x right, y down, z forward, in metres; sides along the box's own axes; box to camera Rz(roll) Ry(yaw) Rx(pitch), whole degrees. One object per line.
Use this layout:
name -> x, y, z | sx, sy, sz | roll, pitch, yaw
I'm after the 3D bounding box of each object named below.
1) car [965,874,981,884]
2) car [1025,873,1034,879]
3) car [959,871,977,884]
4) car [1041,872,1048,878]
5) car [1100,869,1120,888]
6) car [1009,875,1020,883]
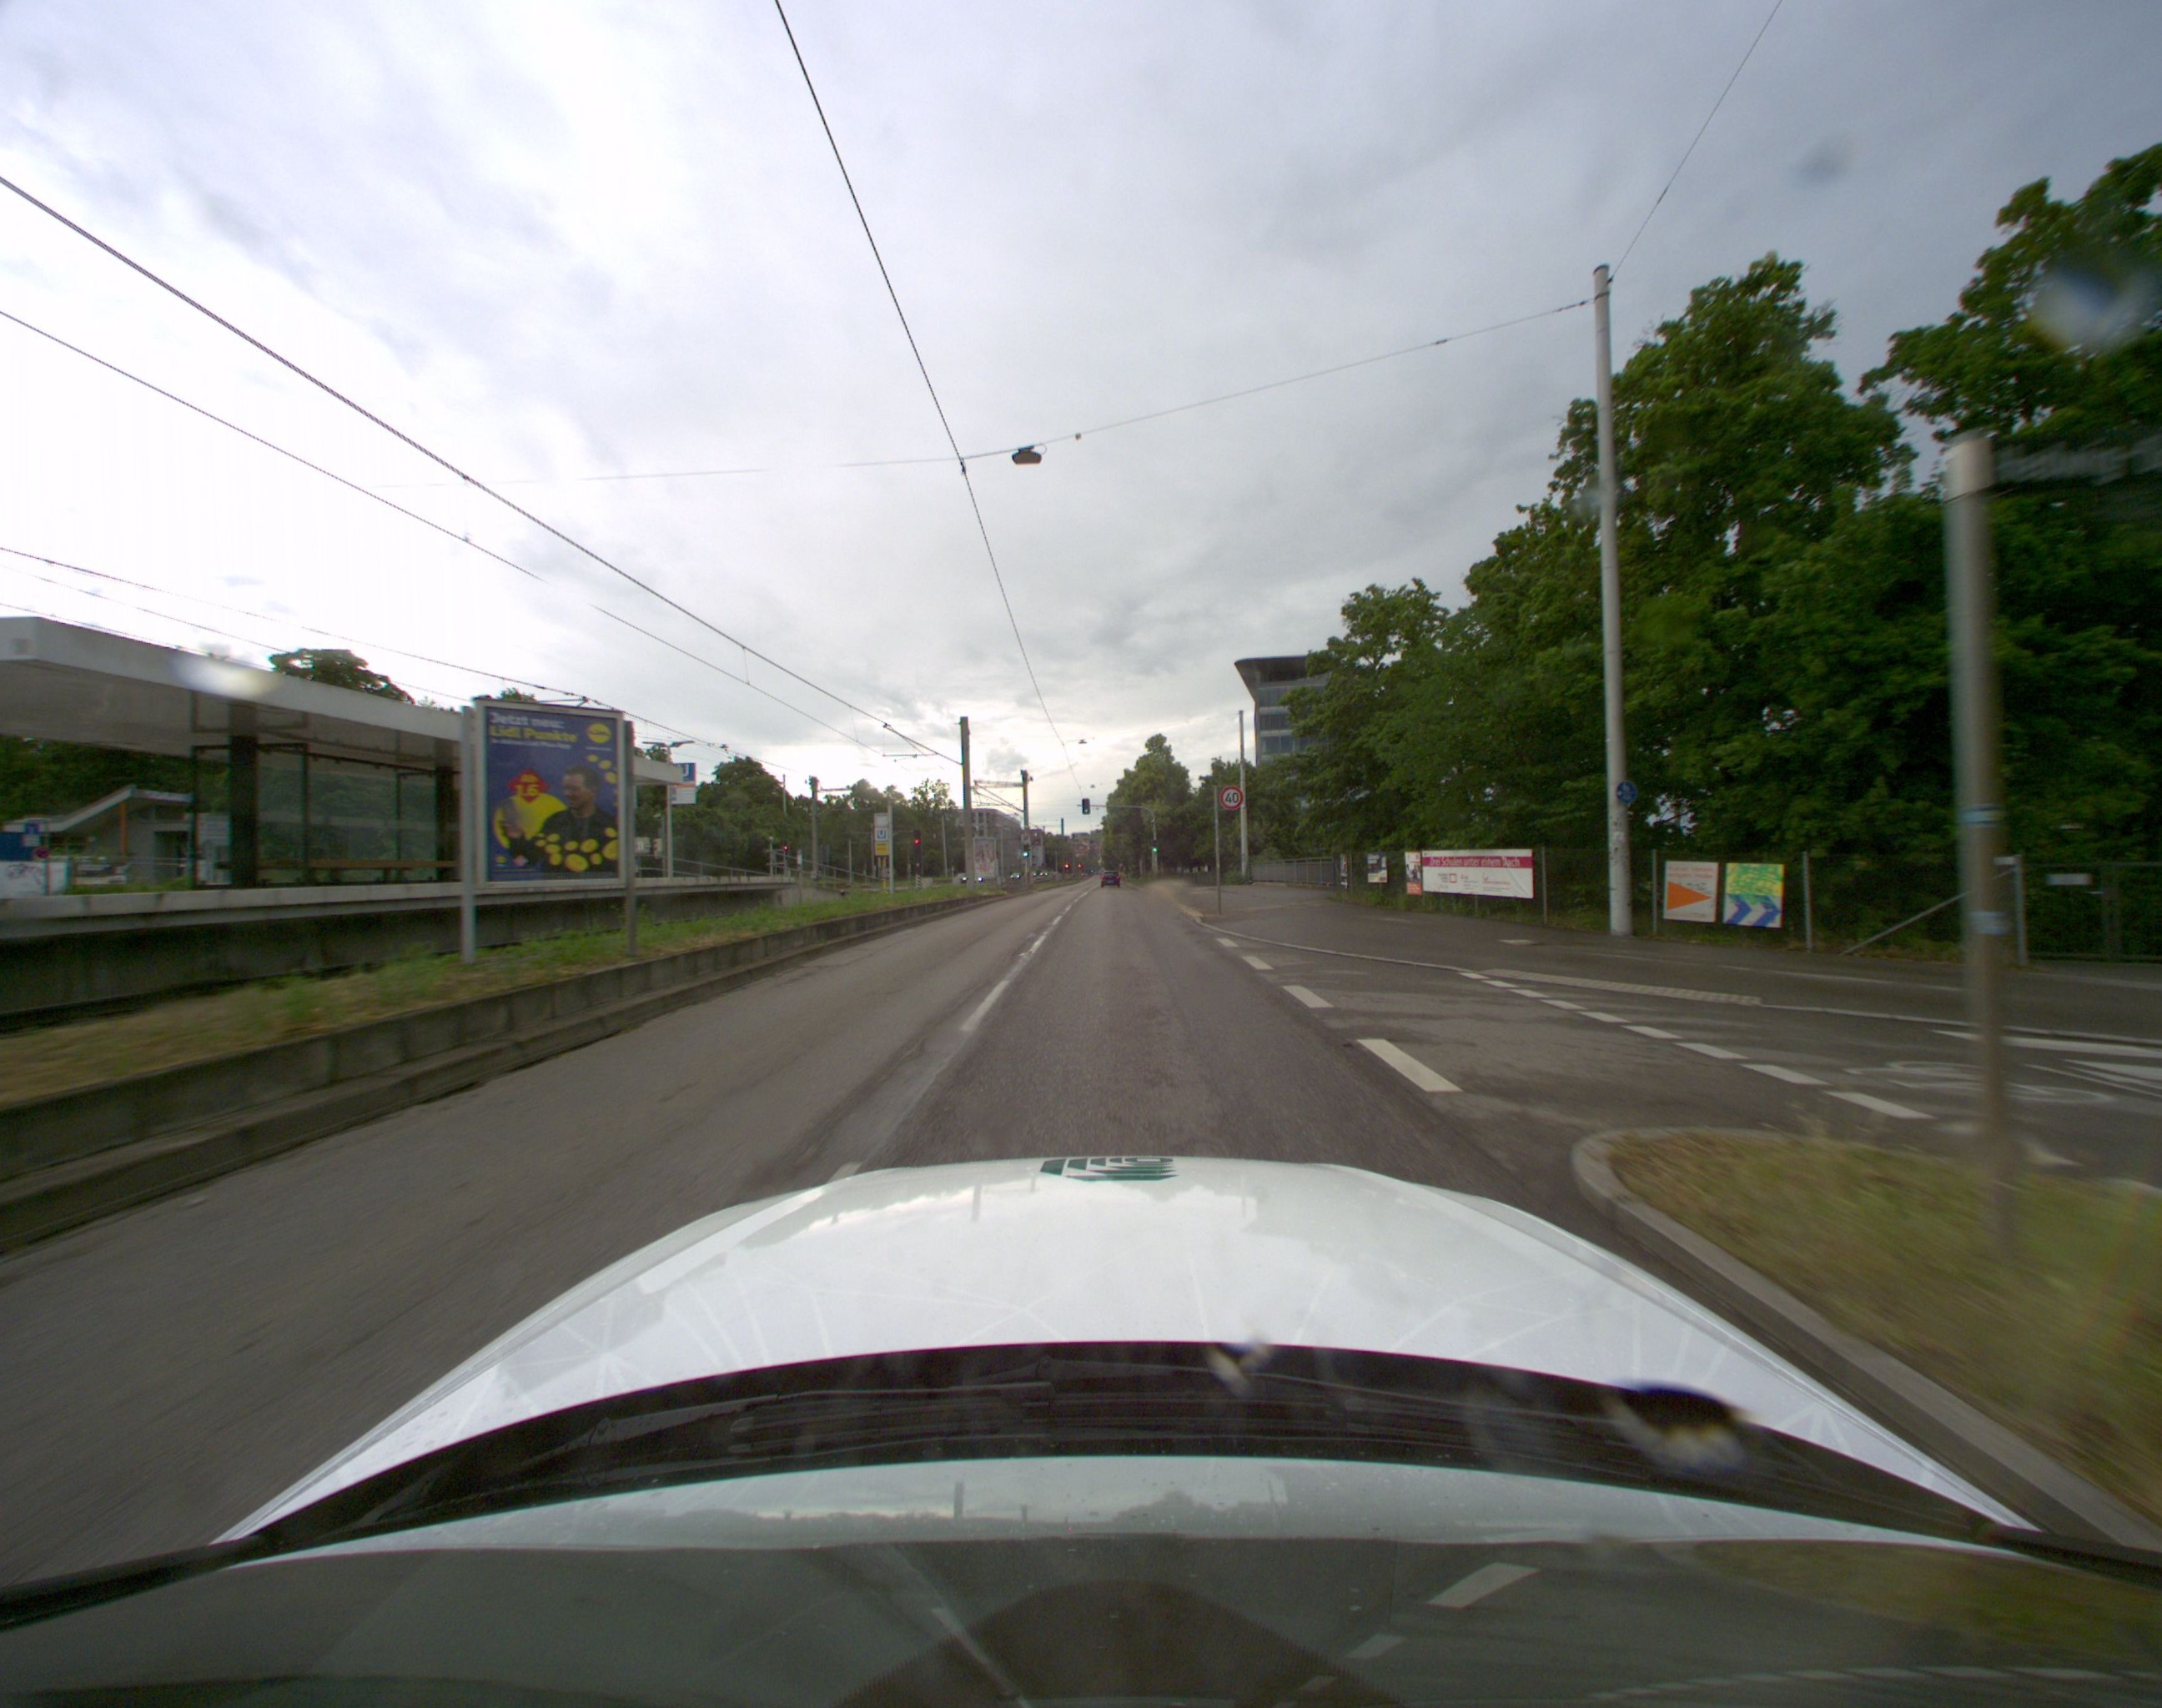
car -> -19.027, 4.408, 143.730 | 1.840, 1.632, 3.819 | 1, 1, 6
car -> -13.945, 5.928, 220.064 | 1.840, 1.632, 3.616 | 1, 1, 6
car -> -15.559, 3.239, 112.490 | 1.658, 1.632, 3.309 | 1, 1, 6
car -> -11.001, 6.251, 245.887 | 1.644, 1.632, 3.616 | 1, 1, 6
car -> 2.503, 2.093, 71.054 | 1.720, 1.541, 4.001 | -1, -1, 1
car -> -15.414, 5.824, 189.037 | 1.840, 1.632, 3.616 | 1, 1, 6
